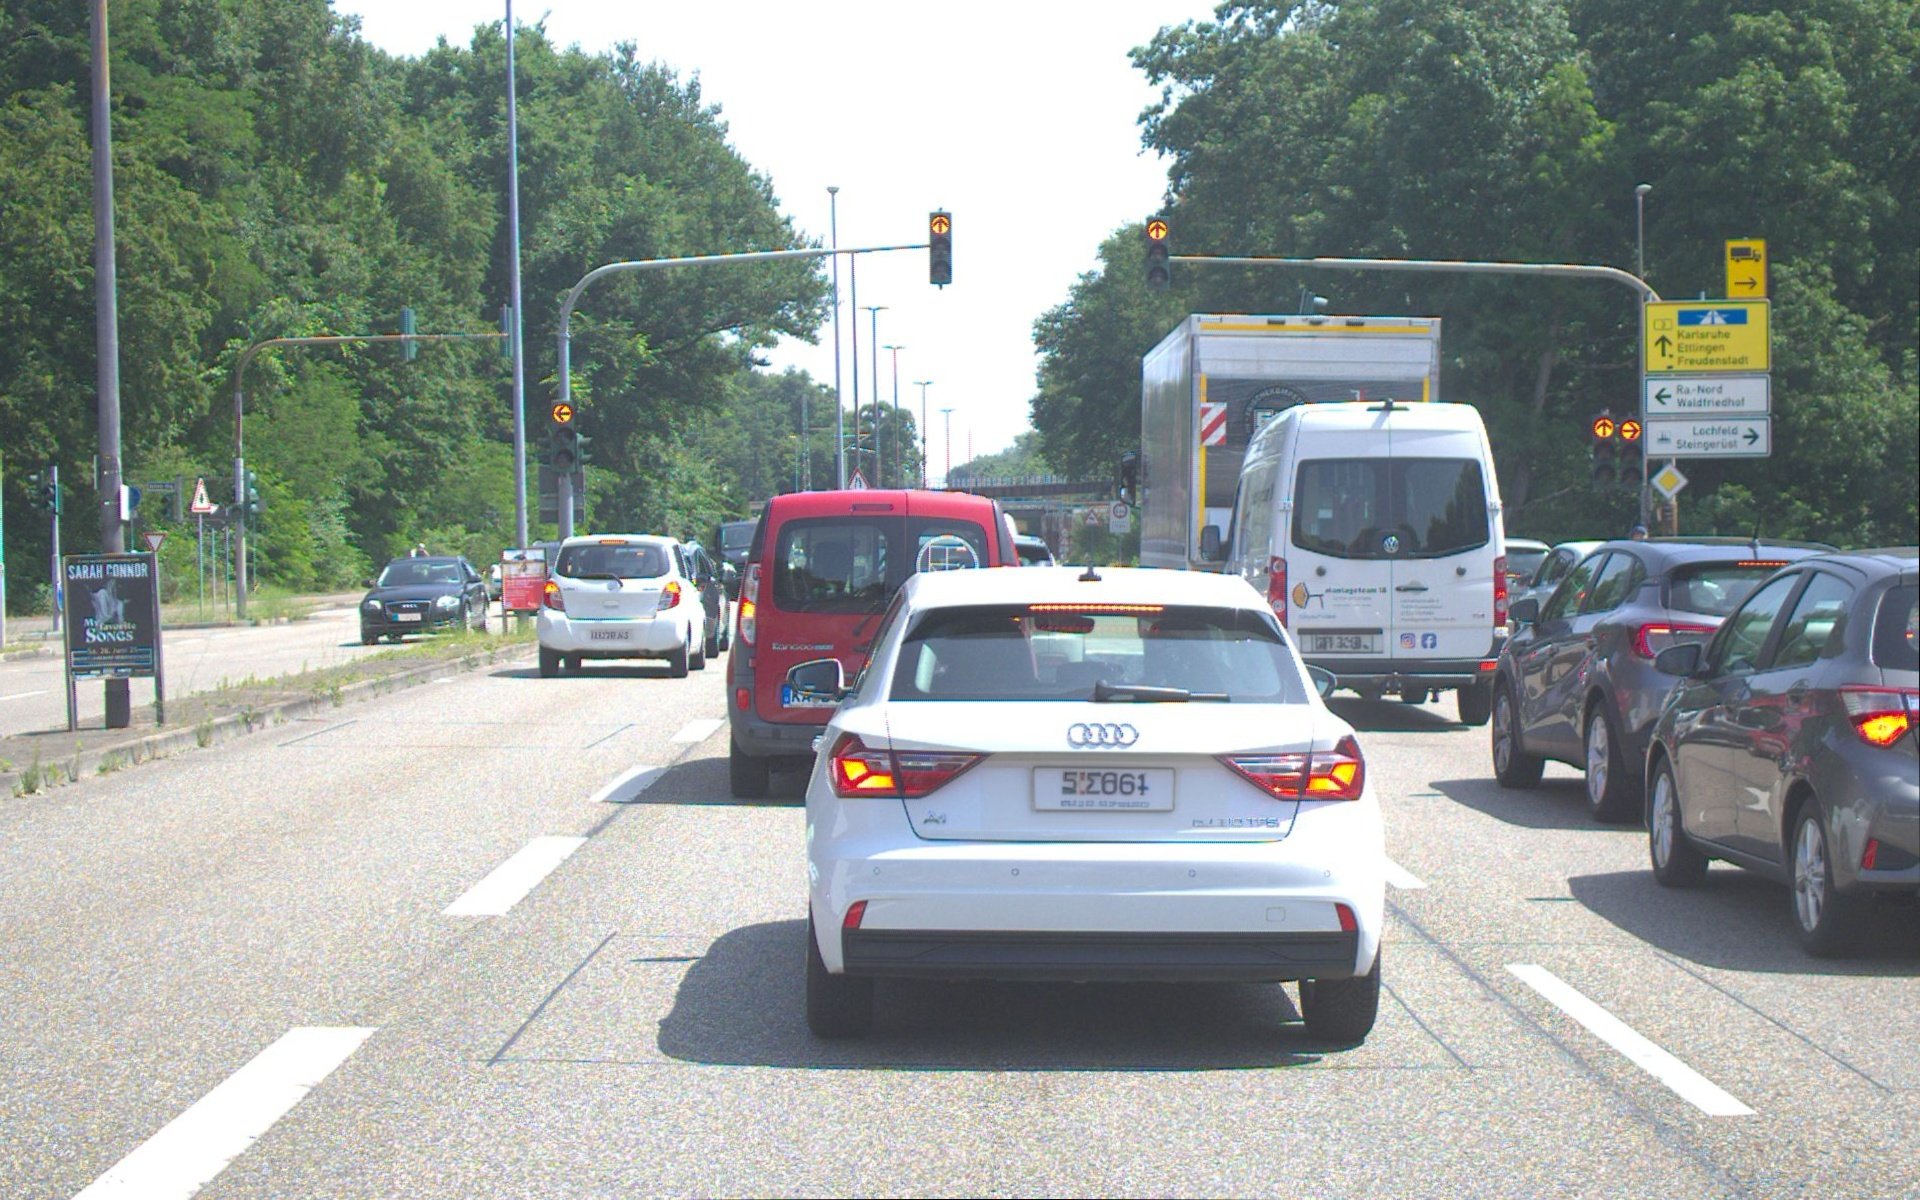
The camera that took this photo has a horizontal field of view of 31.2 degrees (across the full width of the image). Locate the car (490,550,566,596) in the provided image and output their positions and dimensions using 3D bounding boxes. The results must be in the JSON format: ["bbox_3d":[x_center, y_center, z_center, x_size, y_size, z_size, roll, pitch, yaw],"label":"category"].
[{"bbox_3d":[-12.840,-0.817,102.309,1.718,1.258,4.302,-3,1,-1],"label":"car"}]

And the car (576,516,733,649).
[{"bbox_3d":[-3.895,-0.259,44.410,1.774,1.635,4.037,0,1,-2],"label":"car"}]

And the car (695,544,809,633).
[{"bbox_3d":[-4.953,-0.297,81.420,1.993,2.007,4.001,-1,1,-13],"label":"car"}]

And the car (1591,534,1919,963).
[{"bbox_3d":[3.881,0.509,13.960,1.712,1.473,4.092,3,1,-2],"label":"car"}]

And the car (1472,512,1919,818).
[{"bbox_3d":[4.179,0.298,19.882,1.711,1.587,4.092,0,1,-2],"label":"car"}]

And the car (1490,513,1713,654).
[{"bbox_3d":[7.365,-0.221,39.854,1.711,1.541,4.092,0,1,-2],"label":"car"}]

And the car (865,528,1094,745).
[{"bbox_3d":[0.090,0.238,27.859,1.711,1.626,4.092,0,1,-2],"label":"car"}]

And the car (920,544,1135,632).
[{"bbox_3d":[1.342,-0.245,68.861,3.996,1.683,1.874,0,1,40],"label":"car"}]

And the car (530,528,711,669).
[{"bbox_3d":[-3.733,-0.052,38.333,1.711,1.487,4.092,0,1,-2],"label":"car"}]

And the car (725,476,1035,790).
[{"bbox_3d":[-0.499,0.145,21.139,1.711,1.742,4.092,0,1,-2],"label":"car"}]

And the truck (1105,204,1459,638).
[{"bbox_3d":[3.545,-1.949,41.047,3.088,4.418,11.581,1,1,0],"label":"truck"}]

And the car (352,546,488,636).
[{"bbox_3d":[-8.983,-0.174,57.482,1.678,1.335,4.000,-4,1,-2],"label":"car"}]

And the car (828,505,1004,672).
[{"bbox_3d":[-0.484,-0.155,35.634,1.711,1.626,4.092,0,1,-2],"label":"car"}]

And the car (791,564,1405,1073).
[{"bbox_3d":[0.330,0.589,11.637,1.711,1.381,4.092,0,1,-2],"label":"car"}]

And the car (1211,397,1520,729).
[{"bbox_3d":[3.403,-0.339,29.795,2.031,2.635,4.845,0,1,-1],"label":"car"}]
